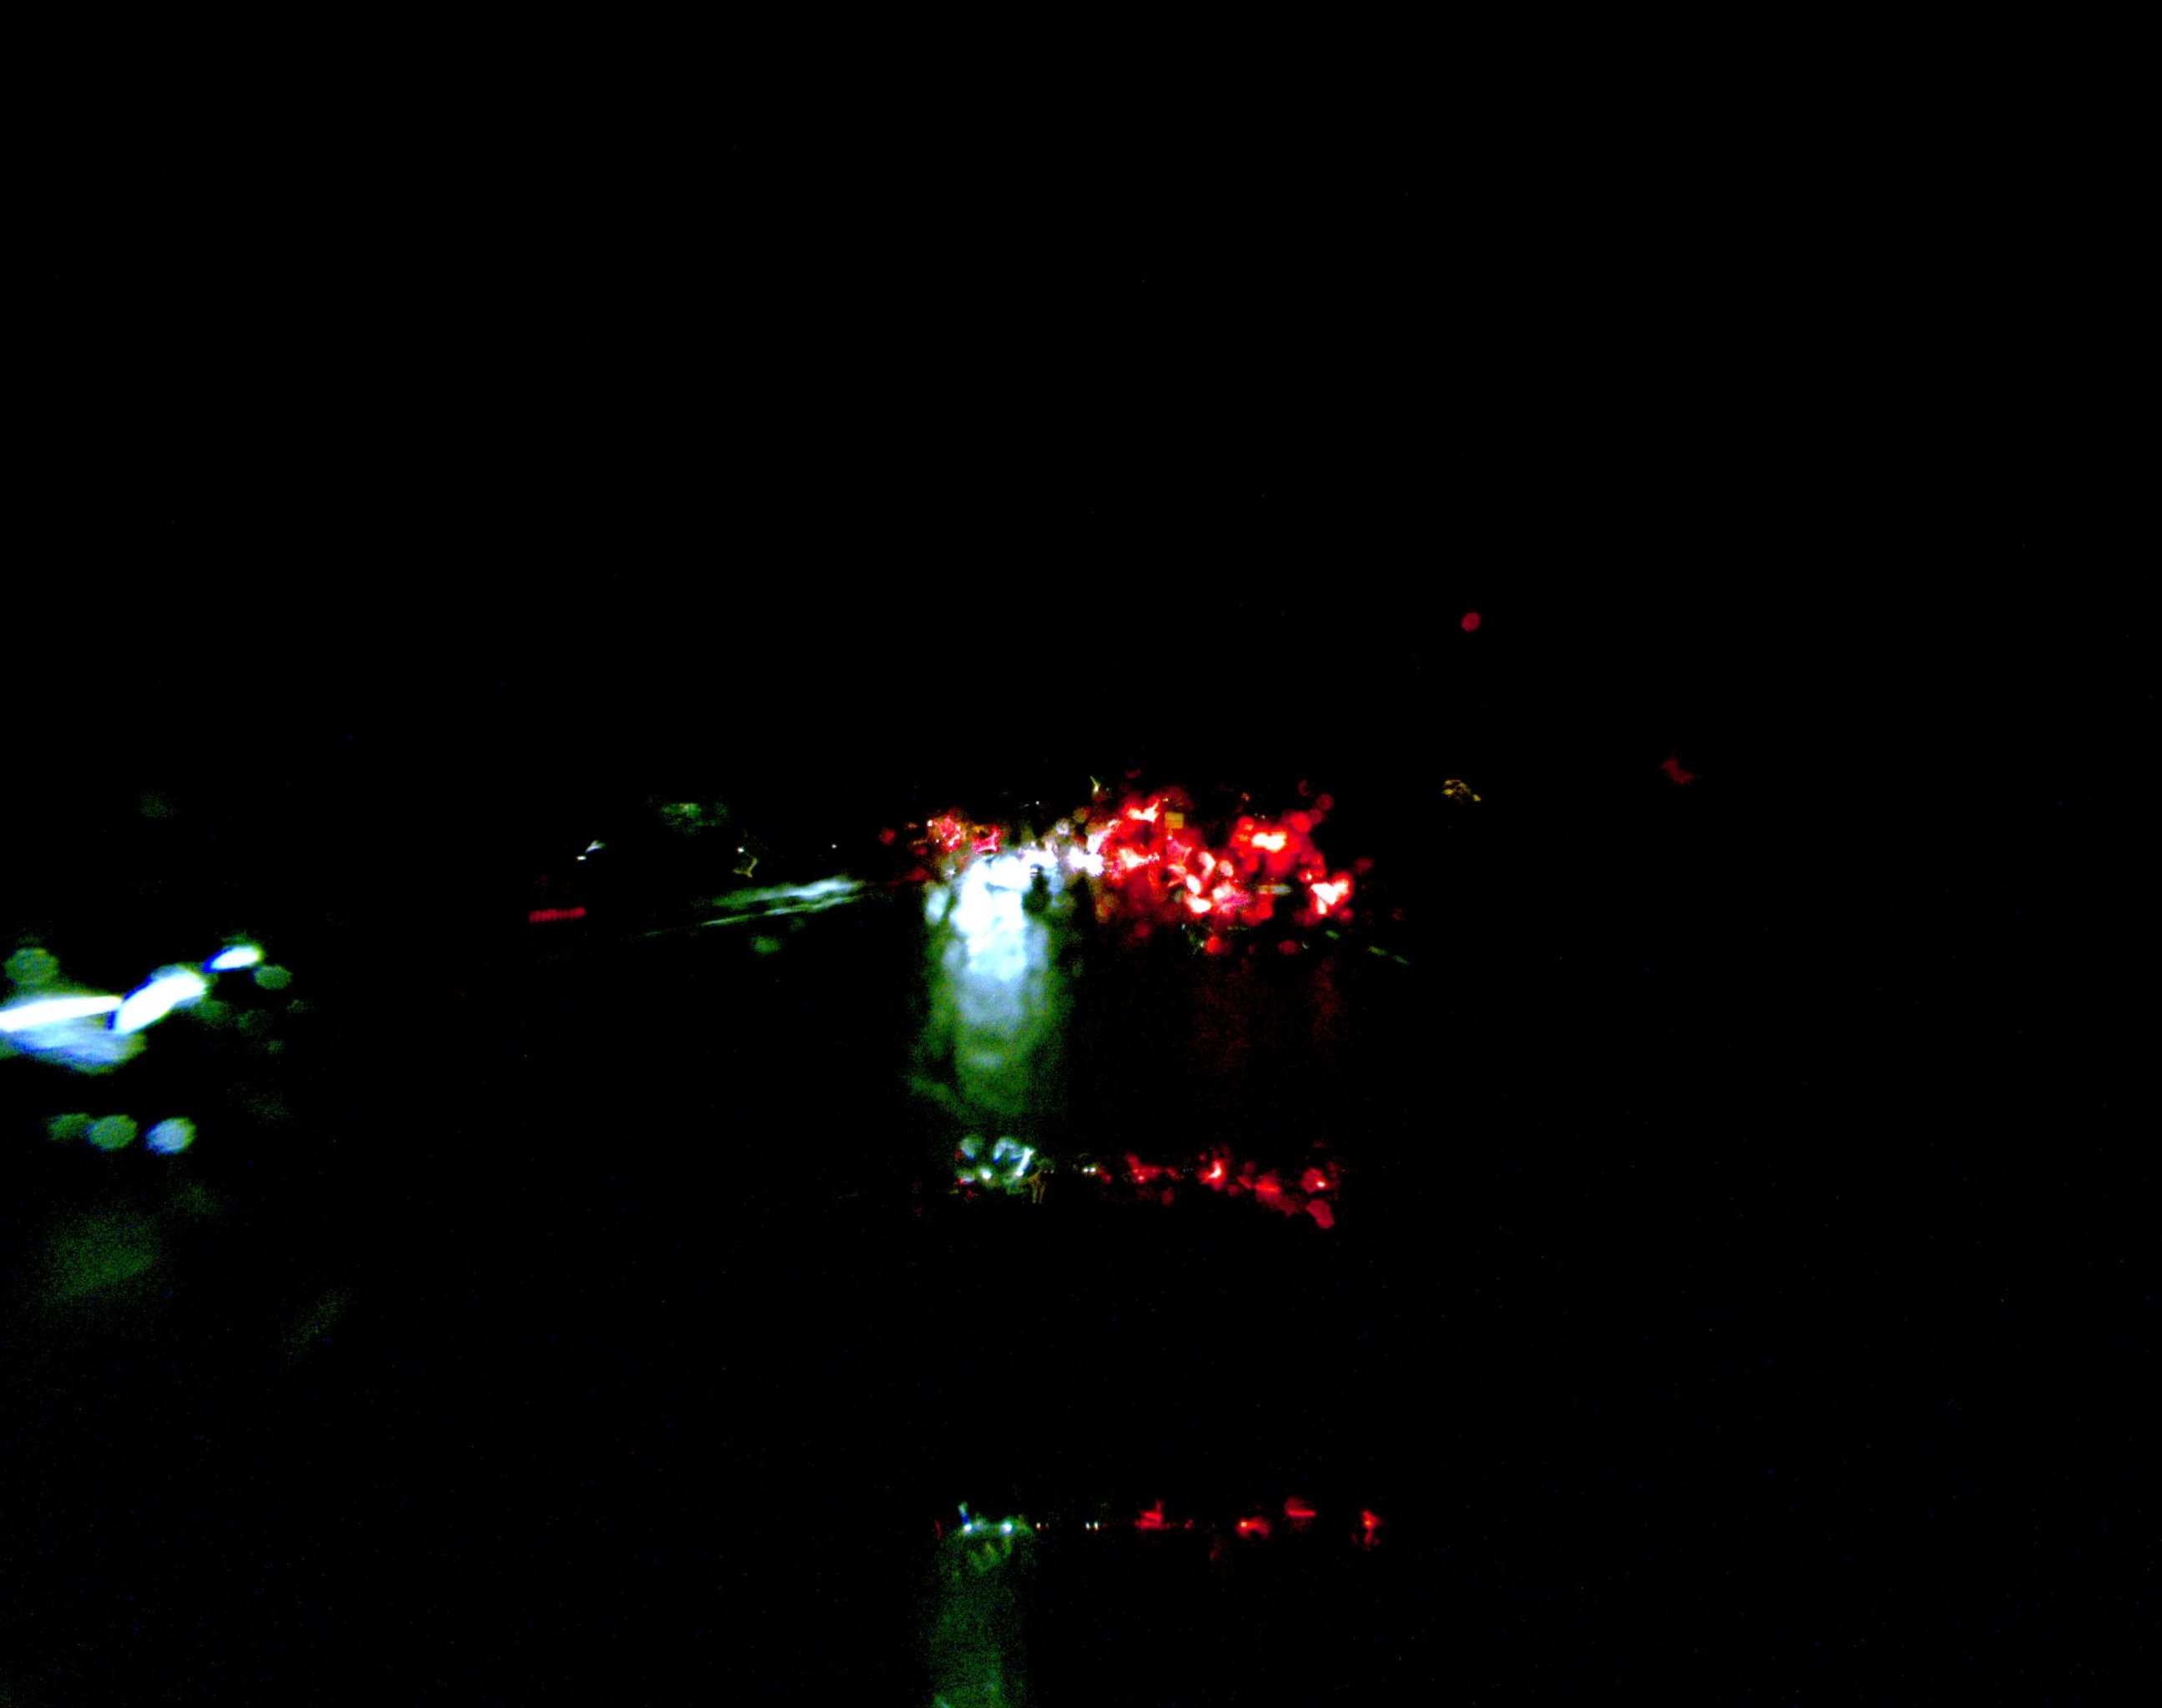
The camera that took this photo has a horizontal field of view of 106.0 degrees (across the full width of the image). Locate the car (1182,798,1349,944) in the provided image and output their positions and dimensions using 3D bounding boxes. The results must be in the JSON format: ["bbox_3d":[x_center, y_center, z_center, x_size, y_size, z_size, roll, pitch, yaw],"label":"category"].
[{"bbox_3d":[2.780,0.220,13.232,1.934,1.972,4.221,-1,0,3],"label":"car"}]

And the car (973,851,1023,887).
[{"bbox_3d":[-3.512,0.584,35.100,1.689,1.434,4.292,0,1,0],"label":"car"}]

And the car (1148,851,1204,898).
[{"bbox_3d":[3.216,0.657,27.924,1.759,1.450,4.224,0,0,5],"label":"car"}]

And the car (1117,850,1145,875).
[{"bbox_3d":[3.461,0.554,56.182,1.700,1.638,3.736,-2,0,6],"label":"car"}]

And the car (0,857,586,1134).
[{"bbox_3d":[-6.412,0.775,6.650,1.912,1.444,4.546,0,0,0],"label":"car"}]

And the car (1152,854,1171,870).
[{"bbox_3d":[7.639,0.745,77.059,1.654,1.450,4.058,-1,-1,7],"label":"car"}]

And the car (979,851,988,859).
[{"bbox_3d":[-24.976,0.197,208.361,1.991,1.912,4.733,-1,0,-6],"label":"car"}]

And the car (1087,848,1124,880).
[{"bbox_3d":[1.340,0.509,43.300,1.686,1.630,3.858,0,0,5],"label":"car"}]

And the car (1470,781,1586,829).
[{"bbox_3d":[17.203,-1.832,31.557,1.637,1.618,4.116,-1,0,-13],"label":"car"}]

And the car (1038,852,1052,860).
[{"bbox_3d":[-6.806,0.412,154.260,1.712,1.499,3.711,-2,0,-15],"label":"car"}]

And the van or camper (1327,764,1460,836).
[{"bbox_3d":[14.352,-2.394,37.979,2.584,2.908,6.328,-1,0,-14],"label":"van or camper"}]

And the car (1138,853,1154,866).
[{"bbox_3d":[7.239,0.602,90.603,1.655,1.450,4.055,-1,-1,5],"label":"car"}]
